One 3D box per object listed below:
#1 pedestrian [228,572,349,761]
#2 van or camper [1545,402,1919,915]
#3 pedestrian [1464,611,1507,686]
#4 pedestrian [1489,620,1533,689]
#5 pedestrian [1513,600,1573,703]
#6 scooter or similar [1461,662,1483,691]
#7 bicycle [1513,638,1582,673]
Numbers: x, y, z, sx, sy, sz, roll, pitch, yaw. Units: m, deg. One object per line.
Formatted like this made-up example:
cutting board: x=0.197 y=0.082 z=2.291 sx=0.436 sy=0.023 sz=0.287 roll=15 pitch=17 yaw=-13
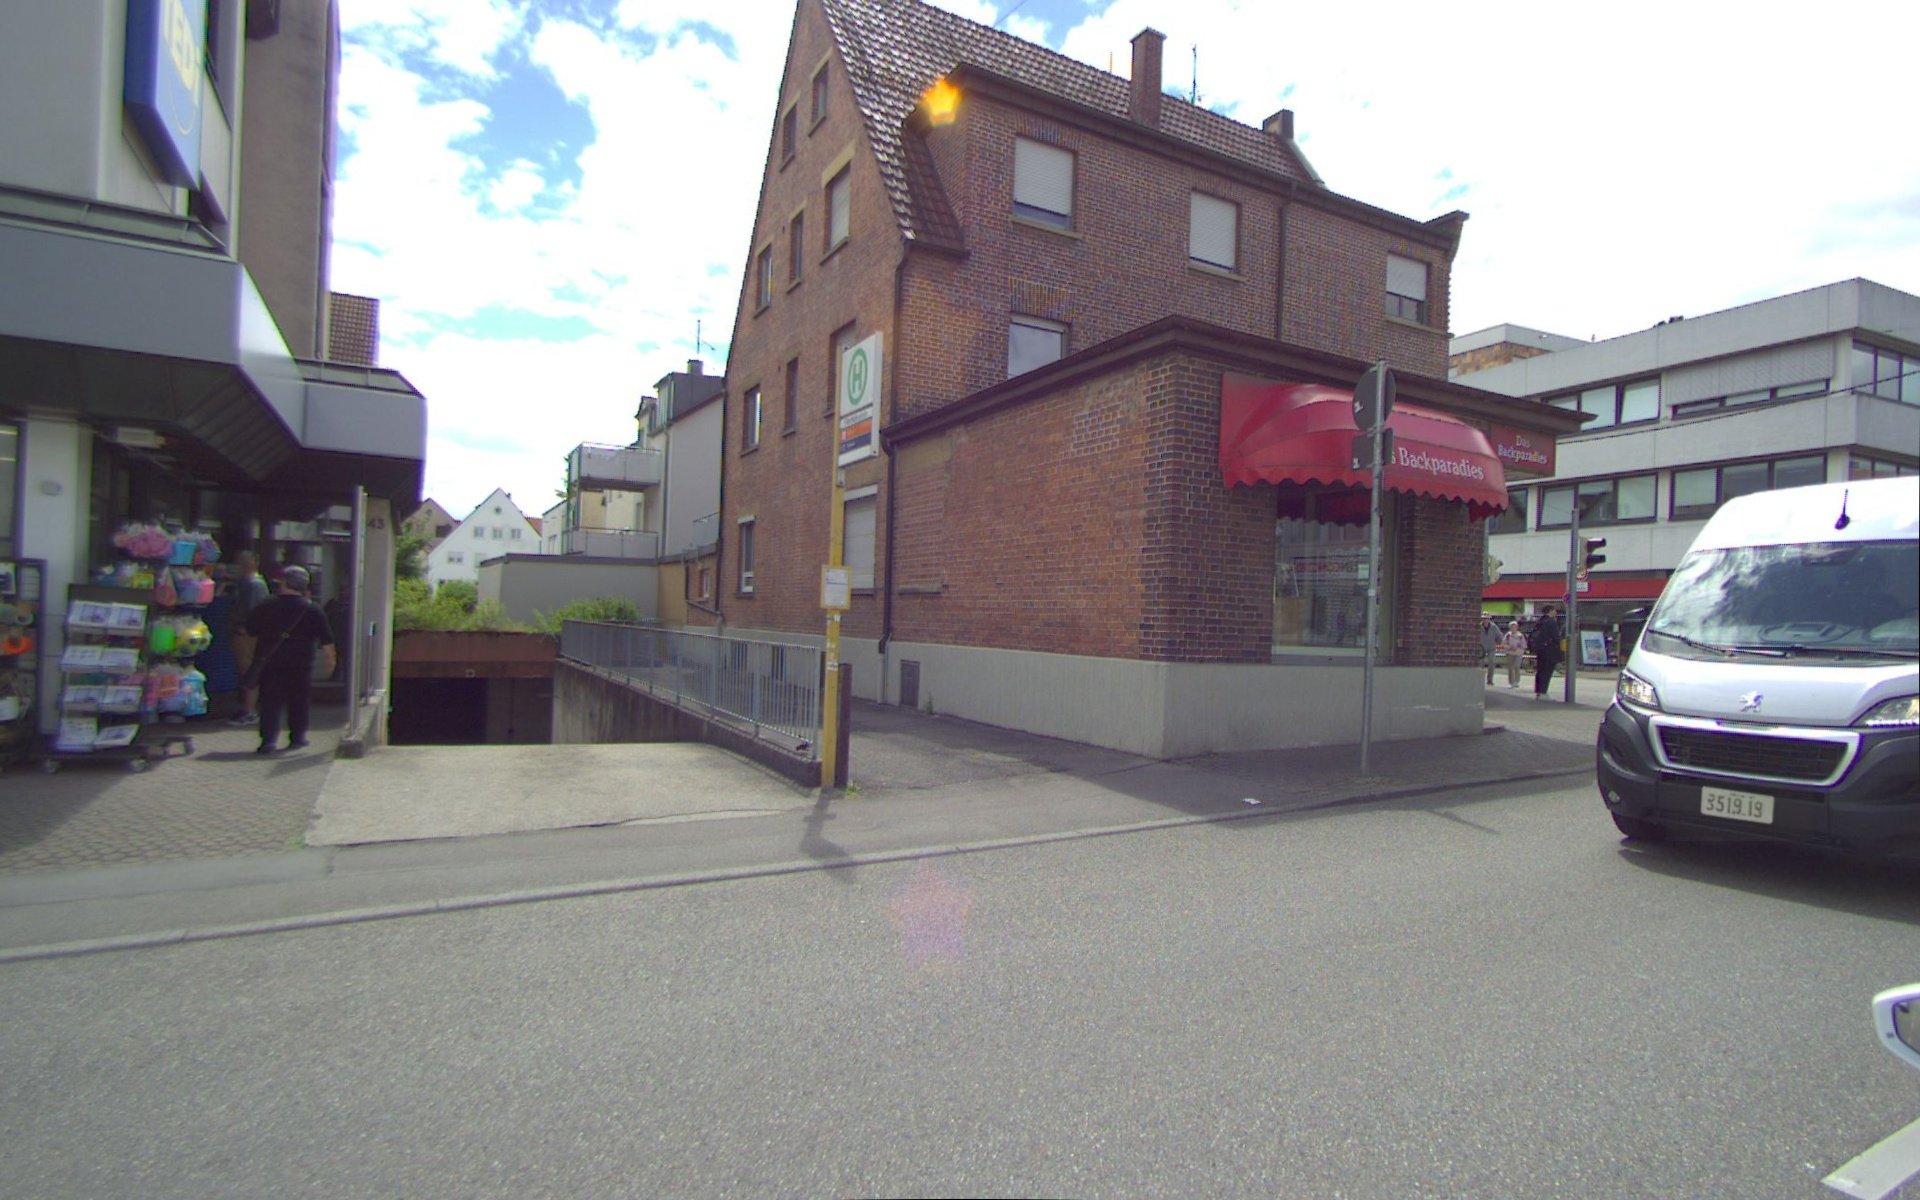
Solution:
pedestrian: x=-5.867 y=0.573 z=8.814 sx=0.764 sy=1.578 sz=0.569 roll=4 pitch=-1 yaw=-33
van or camper: x=6.726 y=0.355 z=7.179 sx=5.376 sy=2.590 sz=2.137 roll=1 pitch=-1 yaw=-32
pedestrian: x=12.173 y=1.124 z=23.259 sx=0.753 sy=1.680 sz=0.521 roll=4 pitch=-1 yaw=-32
pedestrian: x=12.475 y=1.237 z=22.740 sx=0.753 sy=1.504 sz=0.521 roll=4 pitch=-1 yaw=-32
pedestrian: x=10.661 y=0.939 z=18.360 sx=0.712 sy=1.820 sz=0.622 roll=4 pitch=-1 yaw=-31
scooter or similar: x=11.638 y=1.731 z=22.823 sx=0.373 sy=0.654 sz=0.808 roll=-1 pitch=-3 yaw=33
bicycle: x=20.113 y=1.893 z=34.418 sx=0.769 sy=1.157 sz=1.867 roll=3 pitch=-3 yaw=-38
